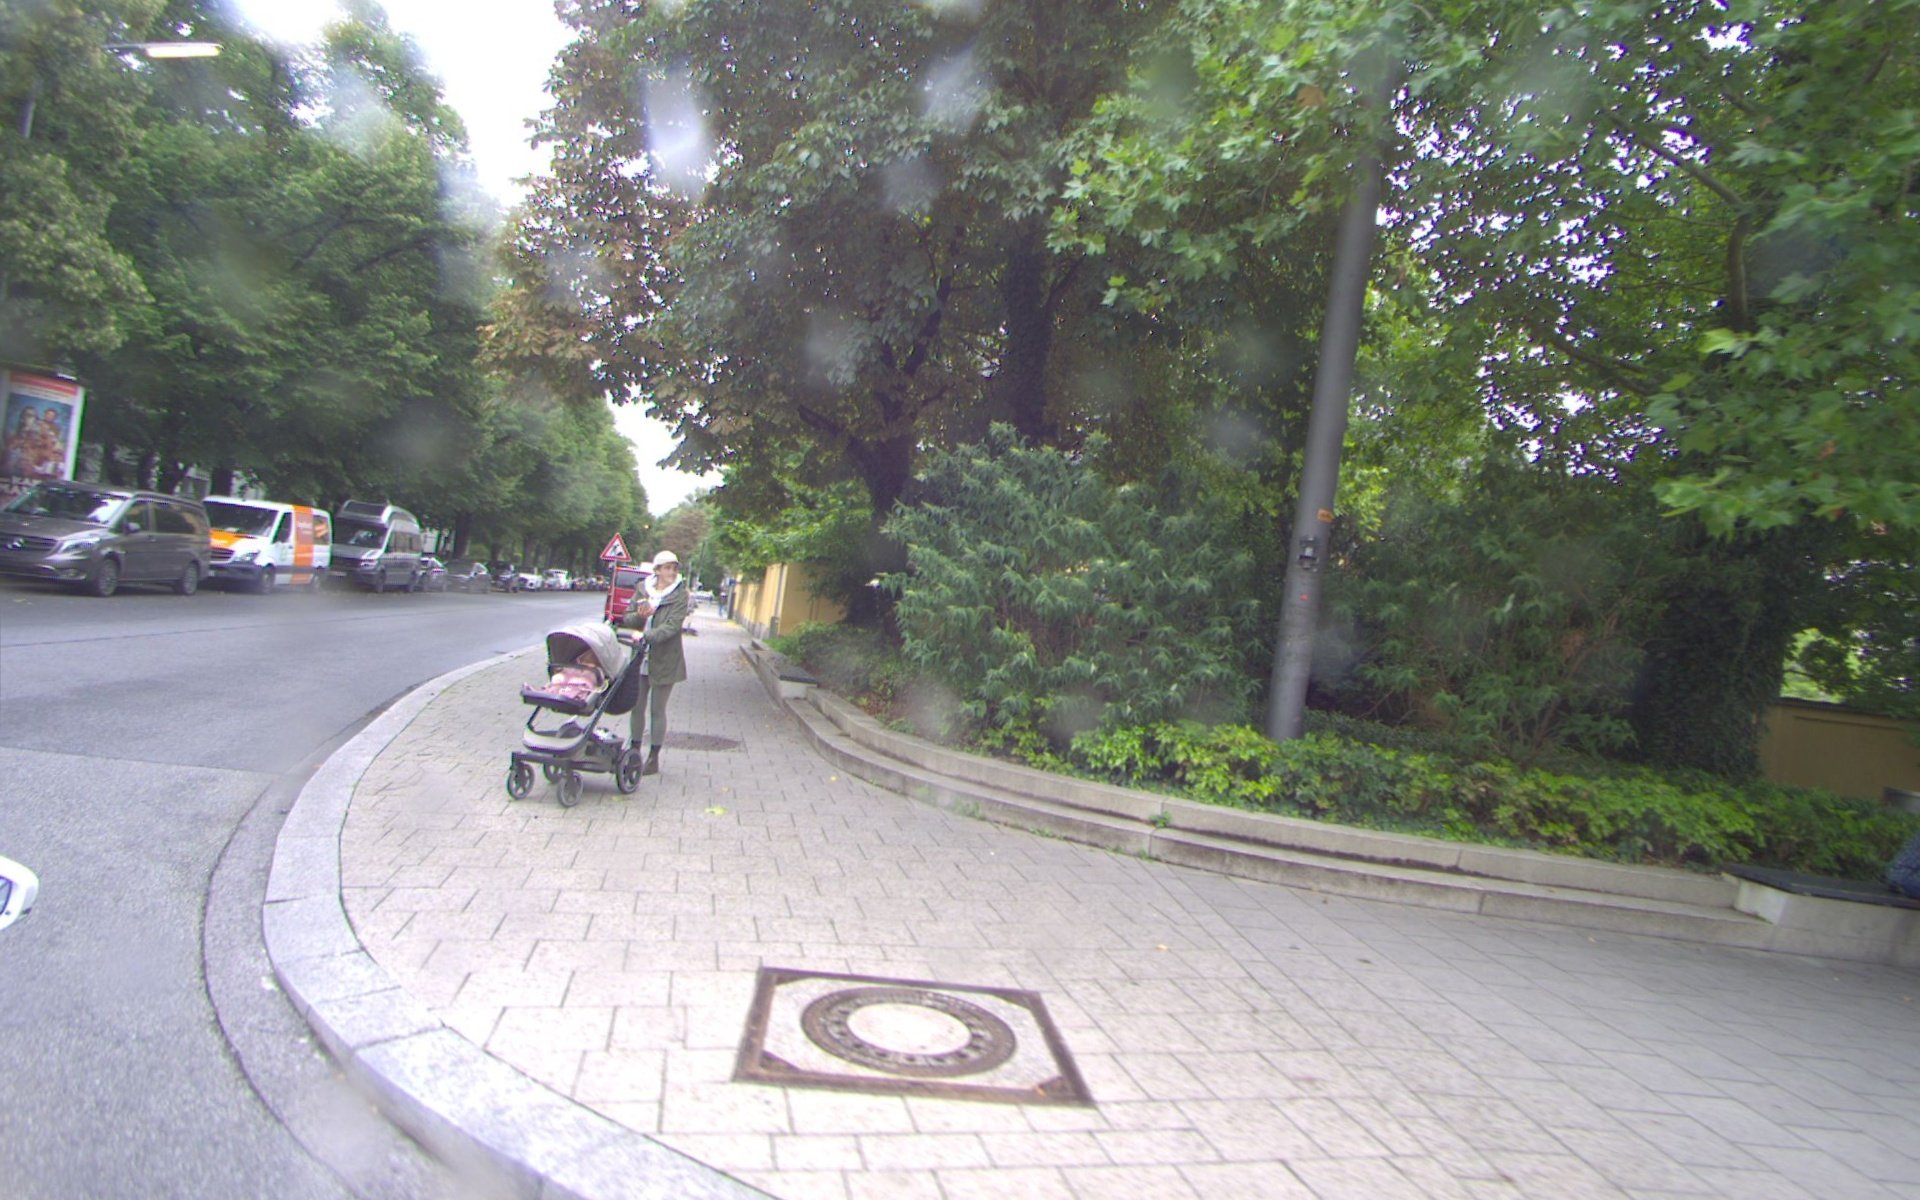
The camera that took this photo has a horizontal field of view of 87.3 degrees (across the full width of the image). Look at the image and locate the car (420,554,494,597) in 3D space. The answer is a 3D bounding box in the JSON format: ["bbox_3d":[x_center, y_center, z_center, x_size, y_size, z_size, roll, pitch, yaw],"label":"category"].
[{"bbox_3d":[-22.452,-1.067,45.048,1.872,1.555,4.065,8,-1,-13],"label":"car"}]

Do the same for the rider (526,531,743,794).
[{"bbox_3d":[-2.335,0.439,7.403,1.065,1.688,1.139,5,0,0],"label":"rider"}]

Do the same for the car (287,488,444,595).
[{"bbox_3d":[-20.064,-1.819,34.416,2.305,2.956,6.566,8,-1,-12],"label":"car"}]

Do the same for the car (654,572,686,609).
[{"bbox_3d":[-23.074,-0.762,79.905,2.018,2.588,5.230,8,-1,-17],"label":"car"}]

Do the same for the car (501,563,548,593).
[{"bbox_3d":[-27.749,-1.380,64.220,1.872,1.589,4.065,8,-1,-13],"label":"car"}]

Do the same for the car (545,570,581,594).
[{"bbox_3d":[-31.394,-1.421,79.604,1.872,1.589,4.065,8,-1,-13],"label":"car"}]

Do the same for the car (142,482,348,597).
[{"bbox_3d":[-17.734,-1.368,25.354,2.084,2.277,5.185,8,-1,-12],"label":"car"}]

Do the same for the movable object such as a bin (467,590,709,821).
[{"bbox_3d":[-2.362,0.642,6.568,1.061,1.283,1.087,6,0,0],"label":"movable object such as a bin"}]

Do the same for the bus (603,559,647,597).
[{"bbox_3d":[-35.518,-2.238,107.272,2.990,3.348,14.830,8,-1,-14],"label":"bus"}]

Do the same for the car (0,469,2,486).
[{"bbox_3d":[-14.347,-1.075,11.957,1.902,1.916,4.856,8,-1,-13],"label":"car"}]

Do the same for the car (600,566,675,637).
[{"bbox_3d":[-10.802,0.019,33.768,2.018,1.945,4.430,8,-1,-18],"label":"car"}]

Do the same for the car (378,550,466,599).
[{"bbox_3d":[-21.415,-0.984,40.254,1.872,1.589,4.300,8,-1,-13],"label":"car"}]

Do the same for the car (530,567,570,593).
[{"bbox_3d":[-29.818,-1.409,73.283,1.872,1.589,4.065,8,-1,-13],"label":"car"}]

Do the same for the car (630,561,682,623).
[{"bbox_3d":[-14.786,-0.409,48.977,2.018,2.588,5.230,8,-1,-17],"label":"car"}]

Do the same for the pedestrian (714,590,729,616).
[{"bbox_3d":[-15.818,0.195,66.784,0.698,1.604,0.843,8,0,-18],"label":"pedestrian"}]

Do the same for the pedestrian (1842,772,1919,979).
[{"bbox_3d":[6.382,1.796,6.280,0.799,1.203,0.919,8,-1,-1],"label":"pedestrian"}]

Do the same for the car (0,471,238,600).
[{"bbox_3d":[-15.740,-1.093,18.435,2.039,1.880,4.976,8,-1,-12],"label":"car"}]

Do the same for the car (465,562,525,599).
[{"bbox_3d":[-24.597,-1.007,53.334,1.872,1.589,4.065,8,-1,-13],"label":"car"}]
